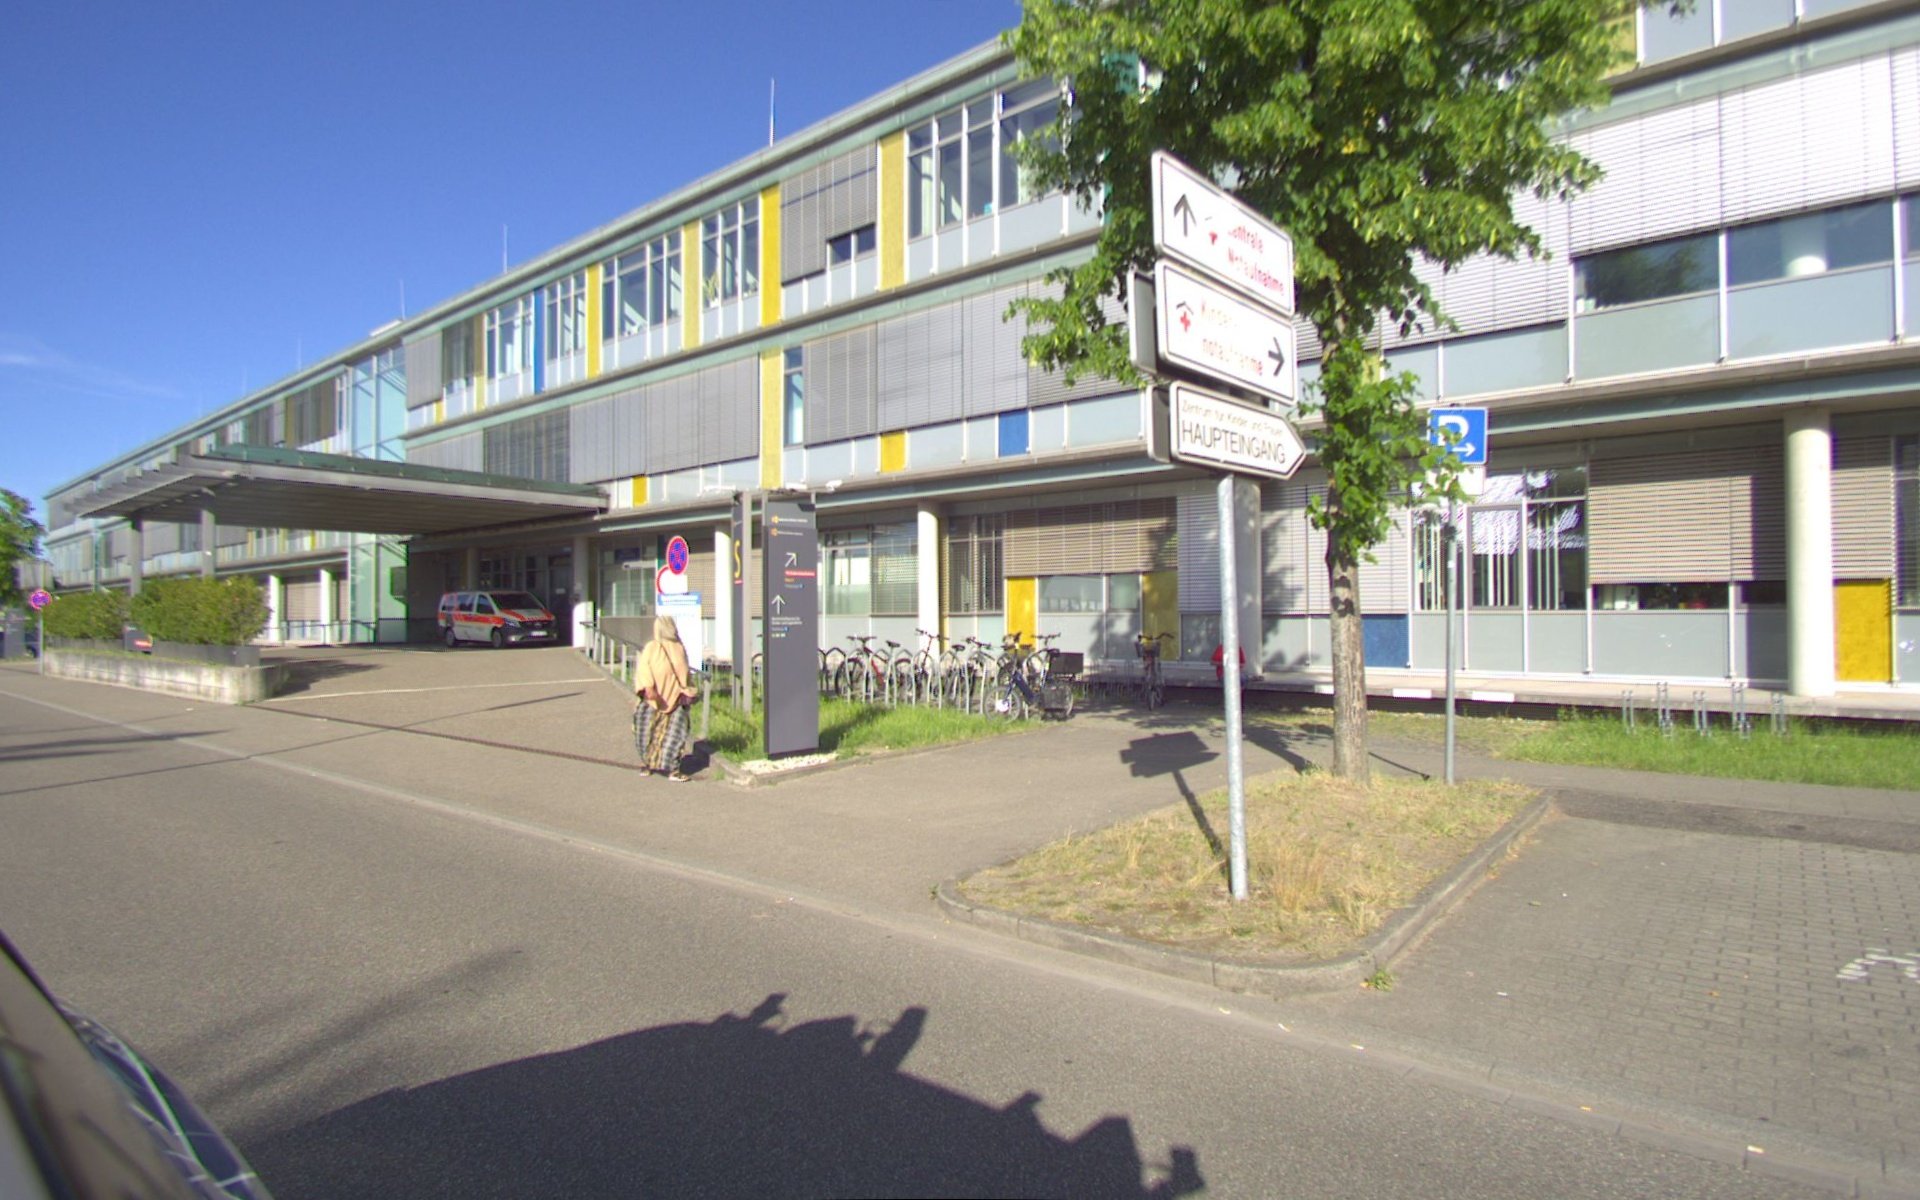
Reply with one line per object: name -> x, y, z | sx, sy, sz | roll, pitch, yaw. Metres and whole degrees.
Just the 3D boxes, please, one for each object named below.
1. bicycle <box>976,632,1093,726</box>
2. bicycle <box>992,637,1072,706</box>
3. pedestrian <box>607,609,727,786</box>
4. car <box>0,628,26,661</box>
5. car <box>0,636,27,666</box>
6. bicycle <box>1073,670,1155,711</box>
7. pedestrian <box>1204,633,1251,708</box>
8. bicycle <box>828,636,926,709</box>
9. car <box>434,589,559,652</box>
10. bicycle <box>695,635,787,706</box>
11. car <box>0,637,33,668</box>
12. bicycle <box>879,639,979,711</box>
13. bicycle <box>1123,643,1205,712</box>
bicycle -> 0.990, 0.994, 13.159 | 1.683, 1.130, 0.536 | 1, -2, -45
bicycle -> 1.297, 1.232, 17.881 | 0.535, 1.132, 1.698 | -2, -2, 39
pedestrian -> -2.777, 0.880, 9.616 | 0.779, 1.561, 0.765 | -1, 0, 40
car -> -51.057, 2.332, 52.042 | 1.957, 1.664, 4.181 | -2, -1, 37
car -> -49.236, 2.573, 50.358 | 1.728, 1.448, 3.949 | -2, -1, 37
bicycle -> 2.528, 1.448, 16.450 | 0.535, 0.555, 1.698 | -2, -2, 39
pedestrian -> 4.363, 1.134, 16.505 | 0.555, 1.182, 0.526 | -2, -2, 41
bicycle -> -1.284, 1.108, 15.917 | 0.535, 1.063, 1.698 | -2, -2, 38
car -> -15.233, 0.704, 33.133 | 4.707, 1.905, 1.900 | -2, -2, 40
bicycle -> -3.716, 1.172, 17.295 | 0.534, 1.132, 1.703 | -1, -2, 30
car -> -47.358, 2.556, 48.506 | 1.751, 1.478, 4.091 | -2, -1, 39
bicycle -> -0.438, 1.088, 15.065 | 0.535, 0.981, 1.698 | -2, -2, 38
bicycle -> 3.232, 1.187, 15.916 | 0.535, 1.001, 1.698 | -2, -2, 39
